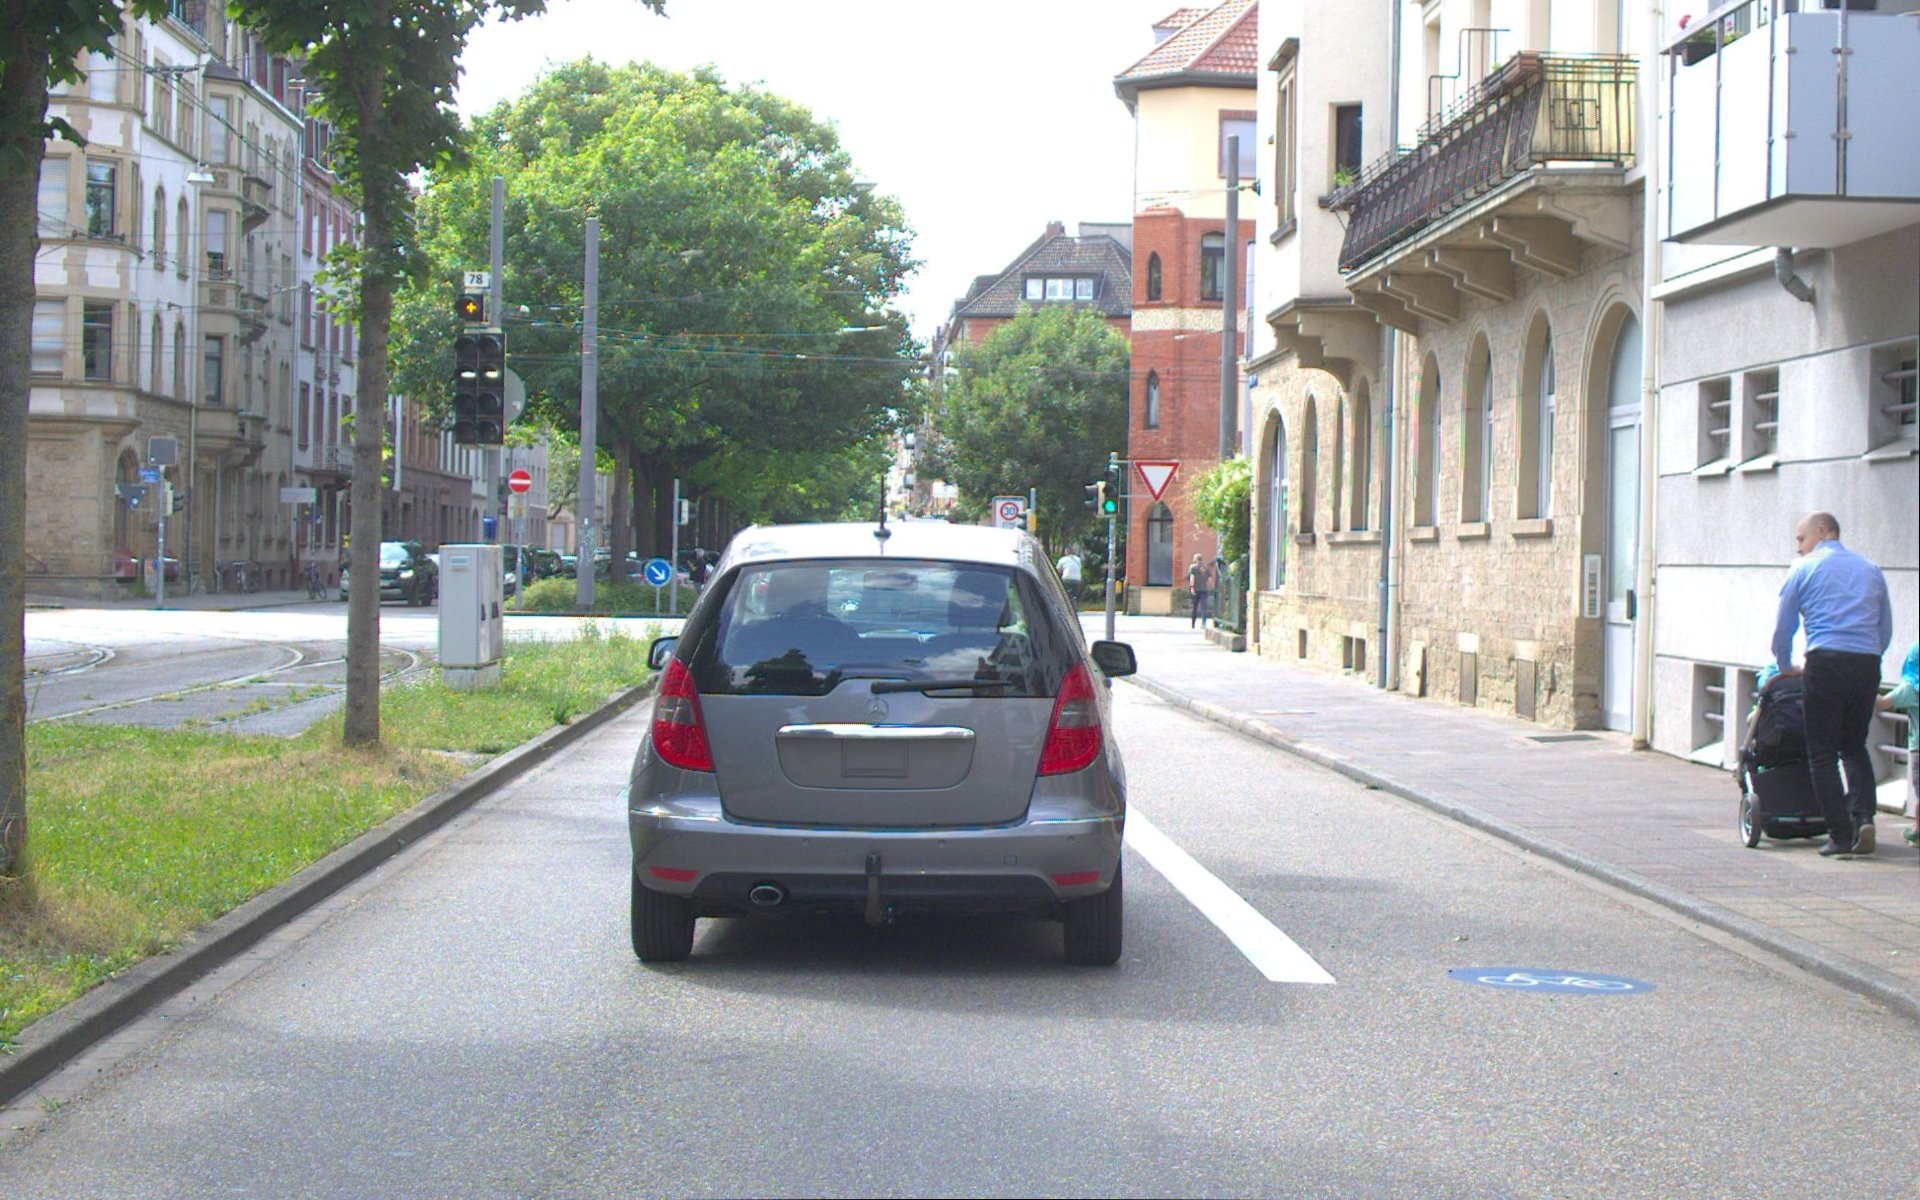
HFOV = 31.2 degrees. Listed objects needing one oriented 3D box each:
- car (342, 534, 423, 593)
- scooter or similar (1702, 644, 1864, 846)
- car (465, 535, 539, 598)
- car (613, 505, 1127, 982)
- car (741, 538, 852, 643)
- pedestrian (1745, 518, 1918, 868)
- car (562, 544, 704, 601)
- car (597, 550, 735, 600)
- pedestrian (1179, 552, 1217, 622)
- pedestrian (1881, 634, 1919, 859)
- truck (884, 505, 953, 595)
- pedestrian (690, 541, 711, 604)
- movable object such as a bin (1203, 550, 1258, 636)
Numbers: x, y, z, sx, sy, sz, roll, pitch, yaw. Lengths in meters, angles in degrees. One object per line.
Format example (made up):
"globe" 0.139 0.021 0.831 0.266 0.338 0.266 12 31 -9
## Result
"car" -16.041 -1.020 95.645 1.993 1.612 4.001 0 1 -7
"scooter or similar" 4.391 0.761 18.387 0.592 0.998 0.906 -3 1 -1
"car" -12.919 -0.941 97.184 1.993 1.722 4.001 0 1 -7
"car" -0.324 0.465 13.462 1.722 1.600 3.677 1 1 -1
"car" -2.730 -0.173 58.098 1.722 1.700 3.677 1 1 -1
"pedestrian" 4.448 0.458 17.596 0.621 1.733 0.877 1 1 -1
"car" -9.148 -0.779 95.906 1.969 1.489 3.999 1 1 -40
"car" -8.443 -0.729 98.536 1.969 1.334 3.999 1 1 -40
"pedestrian" 5.706 -0.326 82.433 0.869 1.651 0.736 1 1 3
"pedestrian" 5.048 0.748 17.742 0.456 1.131 0.494 0 1 -1
"truck" -1.382 -1.689 116.598 2.123 2.960 4.000 1 1 2
"pedestrian" -7.081 -0.751 93.847 0.493 1.719 0.654 1 1 -7
"movable object such as a bin" 4.676 -0.120 59.449 0.714 1.467 0.983 0 1 -10
